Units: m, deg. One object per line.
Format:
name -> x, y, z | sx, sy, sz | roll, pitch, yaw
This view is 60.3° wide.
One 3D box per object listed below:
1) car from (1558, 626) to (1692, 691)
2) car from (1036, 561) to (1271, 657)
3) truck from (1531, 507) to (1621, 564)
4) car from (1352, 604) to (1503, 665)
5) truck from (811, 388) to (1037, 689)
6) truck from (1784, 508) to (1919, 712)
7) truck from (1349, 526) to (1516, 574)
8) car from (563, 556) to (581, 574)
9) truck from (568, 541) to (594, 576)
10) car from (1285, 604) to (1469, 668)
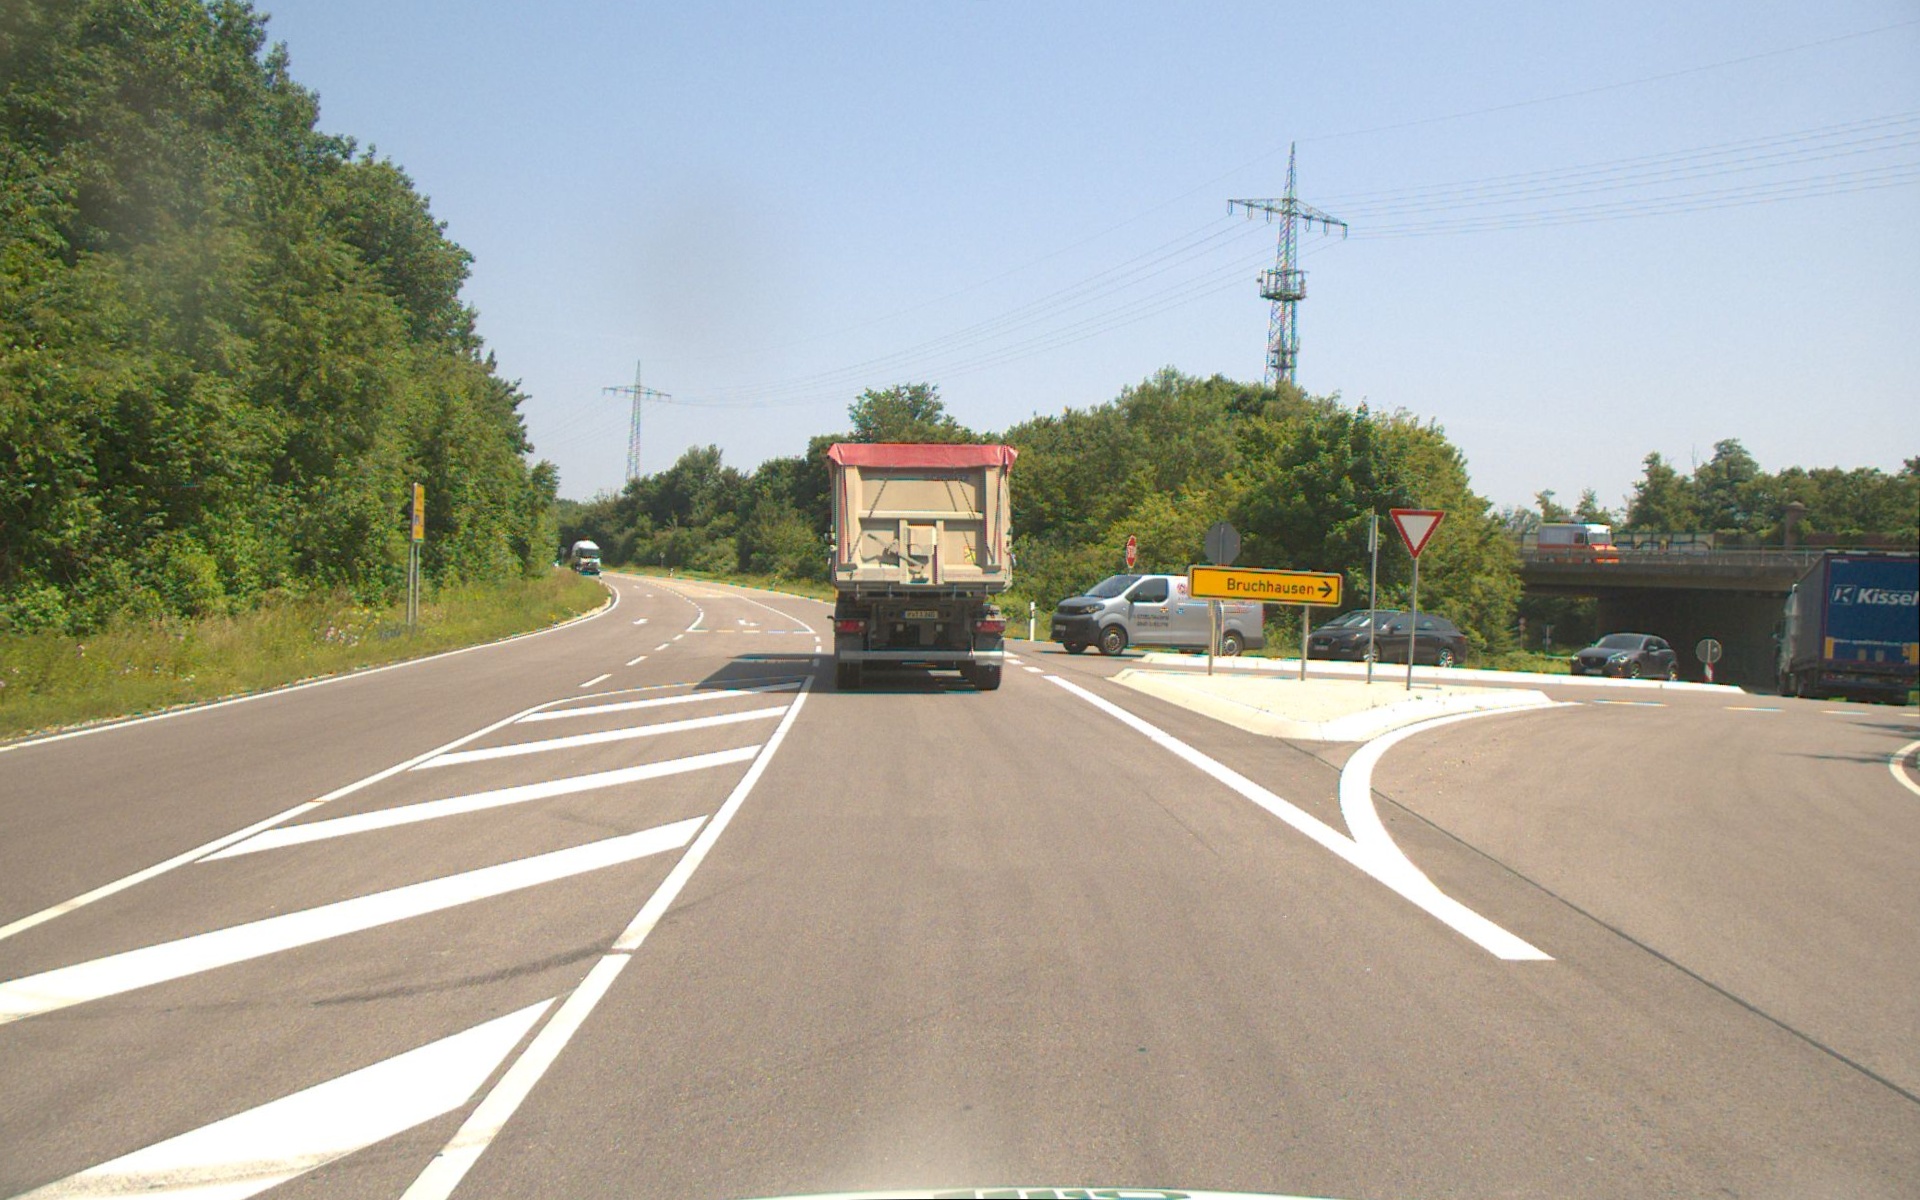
car -> 18.946, 1.682, 47.053 | 4.055, 1.626, 1.786 | 4, -2, -39
car -> 4.528, 0.222, 38.559 | 5.146, 1.940, 1.998 | 3, -1, -25
truck -> 38.039, -3.915, 102.240 | 2.445, 3.333, 4.832 | 1, 0, -30
car -> 12.924, 0.936, 45.697 | 3.939, 1.607, 1.827 | 0, 0, -30
truck -> -1.009, -0.926, 28.324 | 2.837, 4.031, 11.918 | 1, 1, -6
truck -> 27.576, 0.251, 51.317 | 3.296, 5.408, 15.328 | 1, 0, 26
truck -> 42.452, -4.379, 149.744 | 4.386, 3.987, 16.562 | 1, 0, -28
car -> -40.148, -3.614, 171.023 | 1.811, 1.810, 4.876 | 1, 0, -14
truck -> -42.280, -4.589, 184.678 | 2.581, 3.735, 8.770 | 1, 1, -12
car -> 10.472, 0.905, 41.451 | 4.501, 1.499, 1.849 | 1, 0, -31
